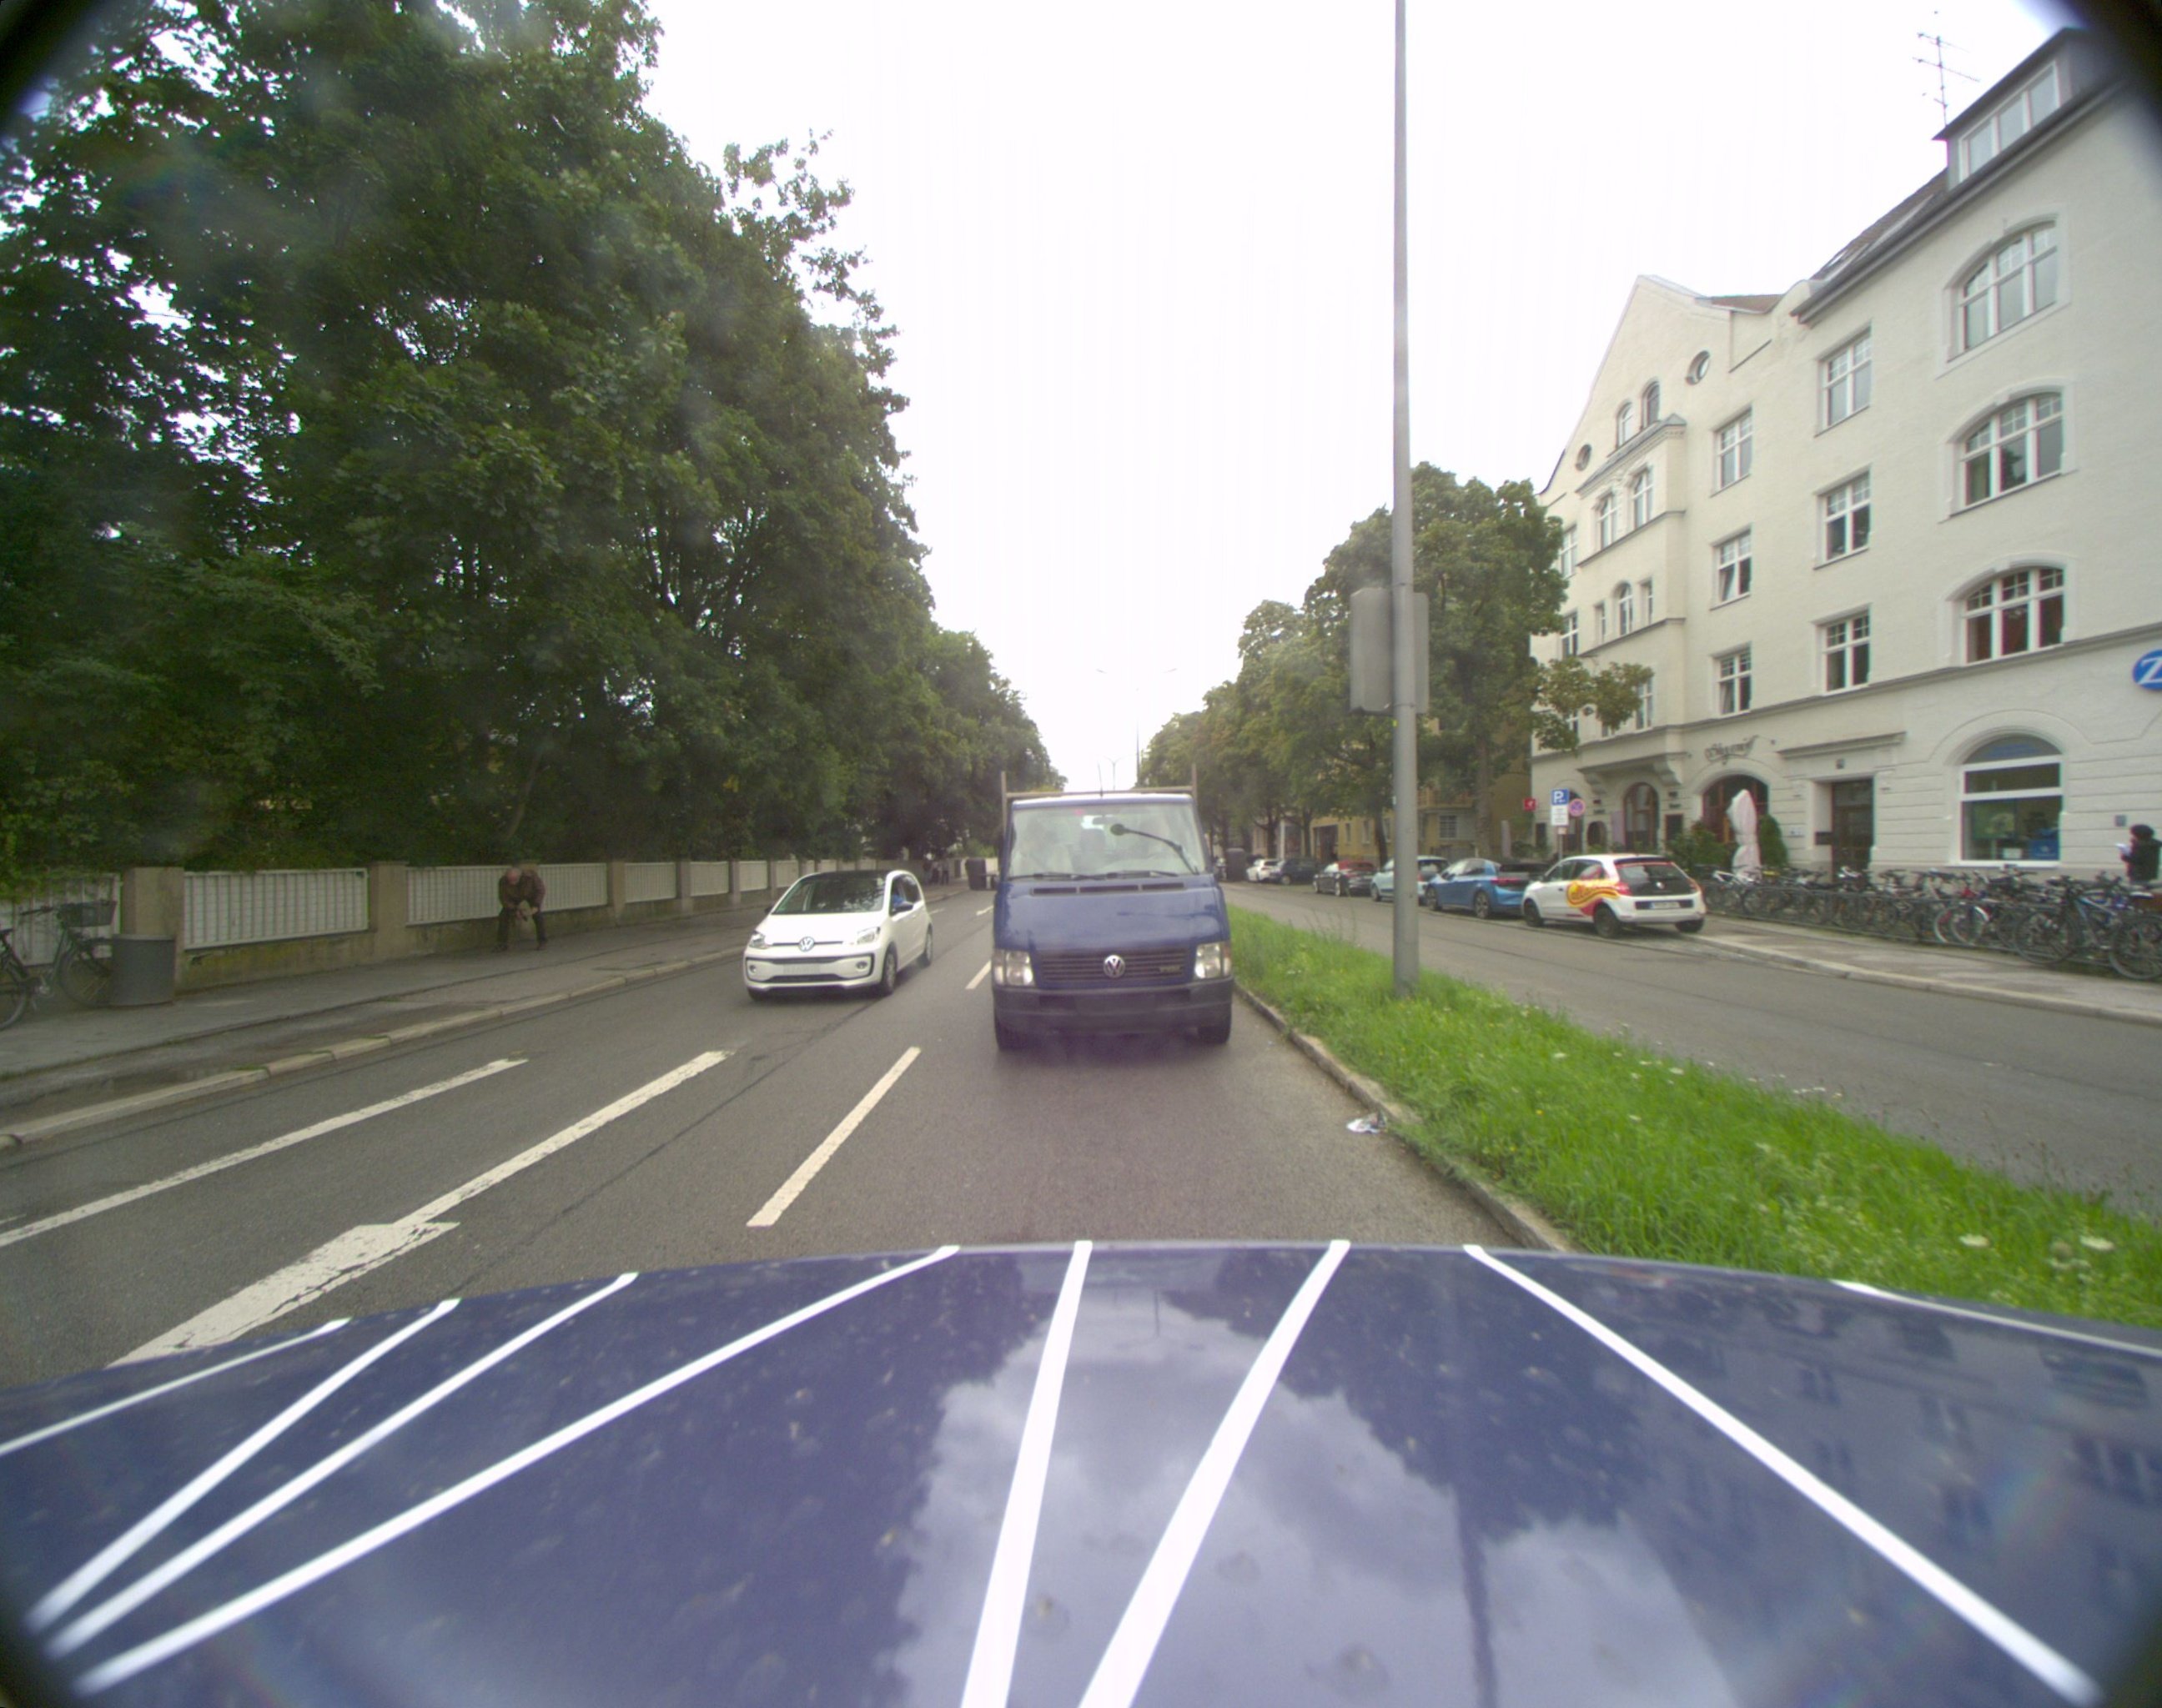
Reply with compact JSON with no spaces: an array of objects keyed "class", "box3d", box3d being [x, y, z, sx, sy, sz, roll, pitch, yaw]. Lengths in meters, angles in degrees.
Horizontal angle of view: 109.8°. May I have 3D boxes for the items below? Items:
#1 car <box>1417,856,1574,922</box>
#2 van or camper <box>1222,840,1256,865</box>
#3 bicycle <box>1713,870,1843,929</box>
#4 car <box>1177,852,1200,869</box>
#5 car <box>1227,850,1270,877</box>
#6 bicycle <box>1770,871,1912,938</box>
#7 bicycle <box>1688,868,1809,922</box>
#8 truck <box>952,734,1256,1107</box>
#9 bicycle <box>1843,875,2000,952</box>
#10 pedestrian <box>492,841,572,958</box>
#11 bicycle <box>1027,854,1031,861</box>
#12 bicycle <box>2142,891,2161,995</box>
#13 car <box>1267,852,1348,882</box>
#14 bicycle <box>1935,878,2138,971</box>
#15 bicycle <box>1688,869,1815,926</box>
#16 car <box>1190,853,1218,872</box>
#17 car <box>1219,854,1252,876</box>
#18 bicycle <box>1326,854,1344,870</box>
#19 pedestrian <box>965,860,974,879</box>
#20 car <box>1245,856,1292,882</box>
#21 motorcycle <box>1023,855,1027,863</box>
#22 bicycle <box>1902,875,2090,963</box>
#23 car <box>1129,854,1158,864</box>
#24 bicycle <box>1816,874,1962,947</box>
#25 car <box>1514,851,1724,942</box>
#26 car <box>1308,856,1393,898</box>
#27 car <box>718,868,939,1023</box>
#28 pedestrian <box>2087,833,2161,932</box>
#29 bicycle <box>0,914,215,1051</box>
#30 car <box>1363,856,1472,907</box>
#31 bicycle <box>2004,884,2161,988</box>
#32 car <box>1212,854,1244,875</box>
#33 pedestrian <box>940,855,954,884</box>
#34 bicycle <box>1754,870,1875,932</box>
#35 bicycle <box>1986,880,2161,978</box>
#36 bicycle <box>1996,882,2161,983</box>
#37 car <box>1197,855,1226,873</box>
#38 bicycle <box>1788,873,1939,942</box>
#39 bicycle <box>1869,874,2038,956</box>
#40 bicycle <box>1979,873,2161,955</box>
[{"class":"car","box3d":[10.677,0.829,19.985,1.815,1.498,4.291,-1,0,1]},{"class":"van or camper","box3d":[17.289,-0.174,83.687,2.351,2.564,6.851,-1,0,1]},{"class":"bicycle","box3d":[14.259,0.902,15.604,0.550,1.109,1.877,-1,0,-31]},{"class":"car","box3d":[11.384,0.687,80.935,1.878,1.677,4.438,-1,0,1]},{"class":"car","box3d":[11.088,0.588,50.645,1.815,1.718,4.767,-1,0,1]},{"class":"bicycle","box3d":[14.013,0.895,14.077,0.331,1.109,1.871,-1,0,-23]},{"class":"bicycle","box3d":[14.713,0.867,16.805,0.460,1.109,1.961,-1,0,-31]},{"class":"truck","box3d":[0.194,0.443,7.665,1.998,2.475,5.151,-1,0,1]},{"class":"bicycle","box3d":[13.452,0.910,12.227,0.331,1.109,1.678,-1,0,-23]},{"class":"pedestrian","box3d":[-9.352,0.757,12.979,0.779,1.931,0.802,0,1,1]},{"class":"bicycle","box3d":[-8.857,0.618,129.094,0.490,1.092,1.631,-1,0,-10]},{"class":"bicycle","box3d":[12.103,0.968,7.618,0.331,1.109,1.678,-1,0,-23]},{"class":"car","box3d":[12.311,0.696,41.445,3.899,1.455,1.732,-2,0,-1]},{"class":"bicycle","box3d":[12.847,0.902,10.290,0.331,1.109,1.678,-1,0,-23]},{"class":"bicycle","box3d":[14.405,0.900,16.387,0.505,1.109,1.984,-1,0,-31]},{"class":"car","box3d":[11.263,0.725,69.827,1.883,1.636,4.770,-1,0,1]},{"class":"car","box3d":[11.143,0.762,54.987,1.731,1.549,3.009,-1,0,-1]},{"class":"bicycle","box3d":[19.338,0.600,57.916,0.771,1.215,1.930,-1,0,0]},{"class":"pedestrian","box3d":[-9.190,1.253,62.636,0.529,1.572,0.729,1,1,0]},{"class":"car","box3d":[11.007,0.853,44.893,1.731,1.394,4.404,-1,0,1]},{"class":"motorcycle","box3d":[-8.907,0.811,121.558,0.497,1.135,1.631,-1,0,-10]},{"class":"bicycle","box3d":[13.004,0.885,10.869,0.383,1.109,1.678,-1,0,-23]},{"class":"car","box3d":[8.552,0.692,104.417,1.865,1.367,3.990,-1,-1,-33]},{"class":"bicycle","box3d":[13.633,0.922,12.880,0.331,1.109,1.678,-1,0,-23]},{"class":"car","box3d":[10.586,0.753,15.316,1.653,1.576,3.790,-1,0,2]},{"class":"car","box3d":[10.731,0.860,30.603,1.815,1.498,4.645,-1,0,1]},{"class":"car","box3d":[-3.018,1.008,9.866,1.647,1.553,3.586,-1,0,0]},{"class":"pedestrian","box3d":[17.635,0.461,12.785,0.422,1.622,0.783,-1,1,7]},{"class":"bicycle","box3d":[-9.842,1.202,7.325,0.624,1.084,2.026,-1,0,0]},{"class":"car","box3d":[10.812,0.825,24.732,1.815,1.498,3.960,-1,0,1]},{"class":"bicycle","box3d":[12.111,0.942,8.865,0.368,1.109,1.678,-1,0,-23]},{"class":"car","box3d":[11.417,0.778,59.167,1.731,1.552,4.057,-1,0,1]},{"class":"pedestrian","box3d":[-8.017,0.929,45.550,0.668,1.695,0.766,1,1,0]},{"class":"bicycle","box3d":[14.217,0.878,14.779,0.331,1.109,1.677,-1,0,-27]},{"class":"bicycle","box3d":[12.695,0.910,9.538,0.367,1.109,1.678,-1,0,-23]},{"class":"bicycle","box3d":[12.403,0.929,9.190,0.331,1.109,1.678,-1,0,-23]},{"class":"car","box3d":[10.939,0.836,64.000,1.731,1.398,4.363,-1,0,1]},{"class":"bicycle","box3d":[13.827,0.911,13.498,0.331,1.109,1.871,-1,0,-23]},{"class":"bicycle","box3d":[13.215,0.887,11.575,0.331,1.109,1.678,-1,0,-23]},{"class":"bicycle","box3d":[14.776,0.855,11.393,0.331,1.109,1.678,-1,0,-23]}]
